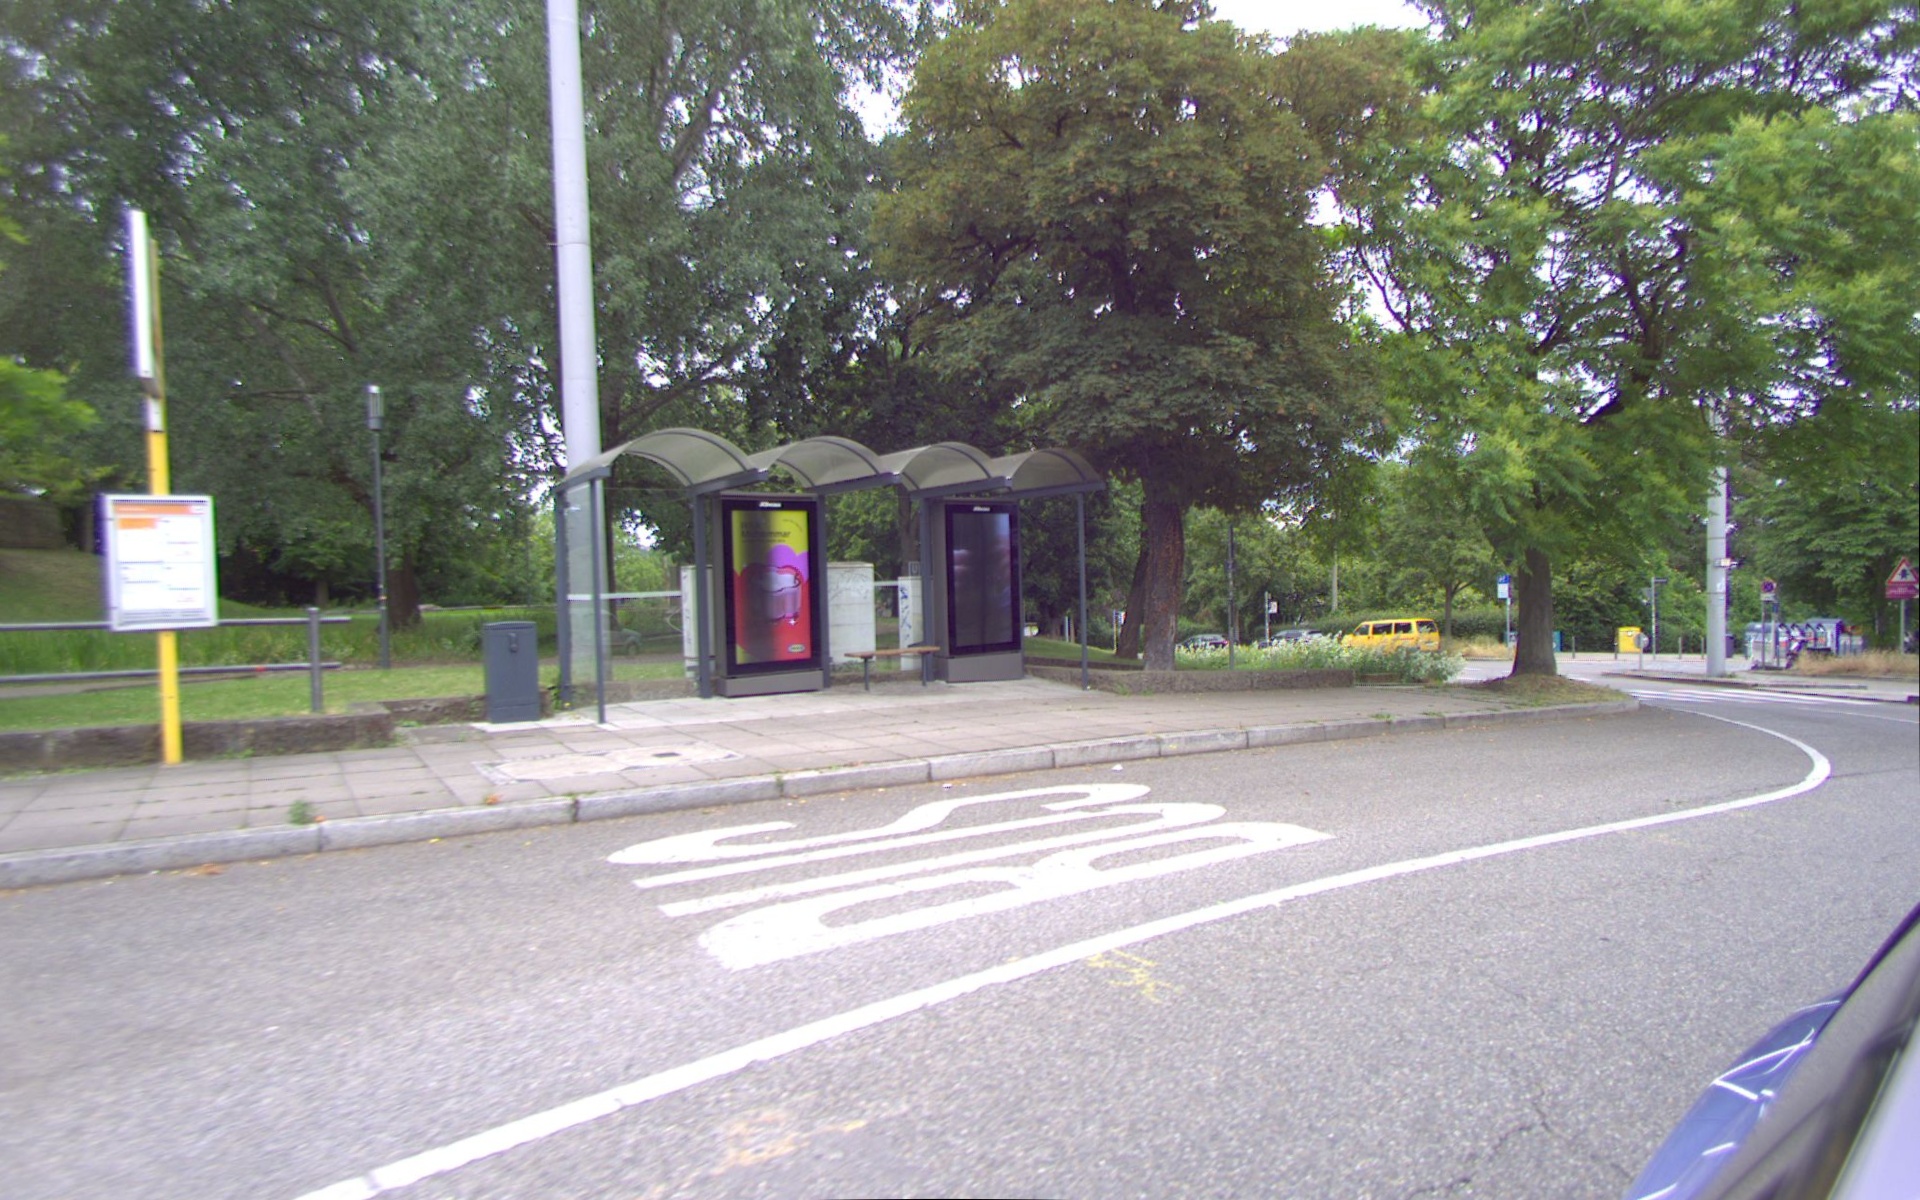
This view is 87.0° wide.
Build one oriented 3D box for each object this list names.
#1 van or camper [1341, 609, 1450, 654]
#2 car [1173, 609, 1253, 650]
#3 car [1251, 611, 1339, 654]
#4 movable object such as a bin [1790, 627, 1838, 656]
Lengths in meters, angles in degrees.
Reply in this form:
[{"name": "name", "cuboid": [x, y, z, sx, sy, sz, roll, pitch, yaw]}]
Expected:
[{"name": "van or camper", "cuboid": [20.513, 1.479, 47.857, 1.852, 2.003, 4.475, 0, -1, -29]}, {"name": "car", "cuboid": [14.341, 1.651, 57.491, 1.966, 2.039, 3.993, 2, 1, -42]}, {"name": "car", "cuboid": [17.471, 1.672, 52.904, 1.960, 2.039, 4.004, 2, 1, -31]}, {"name": "movable object such as a bin", "cuboid": [38.963, 1.882, 46.191, 1.294, 1.180, 1.058, 2, 0, 12]}]
